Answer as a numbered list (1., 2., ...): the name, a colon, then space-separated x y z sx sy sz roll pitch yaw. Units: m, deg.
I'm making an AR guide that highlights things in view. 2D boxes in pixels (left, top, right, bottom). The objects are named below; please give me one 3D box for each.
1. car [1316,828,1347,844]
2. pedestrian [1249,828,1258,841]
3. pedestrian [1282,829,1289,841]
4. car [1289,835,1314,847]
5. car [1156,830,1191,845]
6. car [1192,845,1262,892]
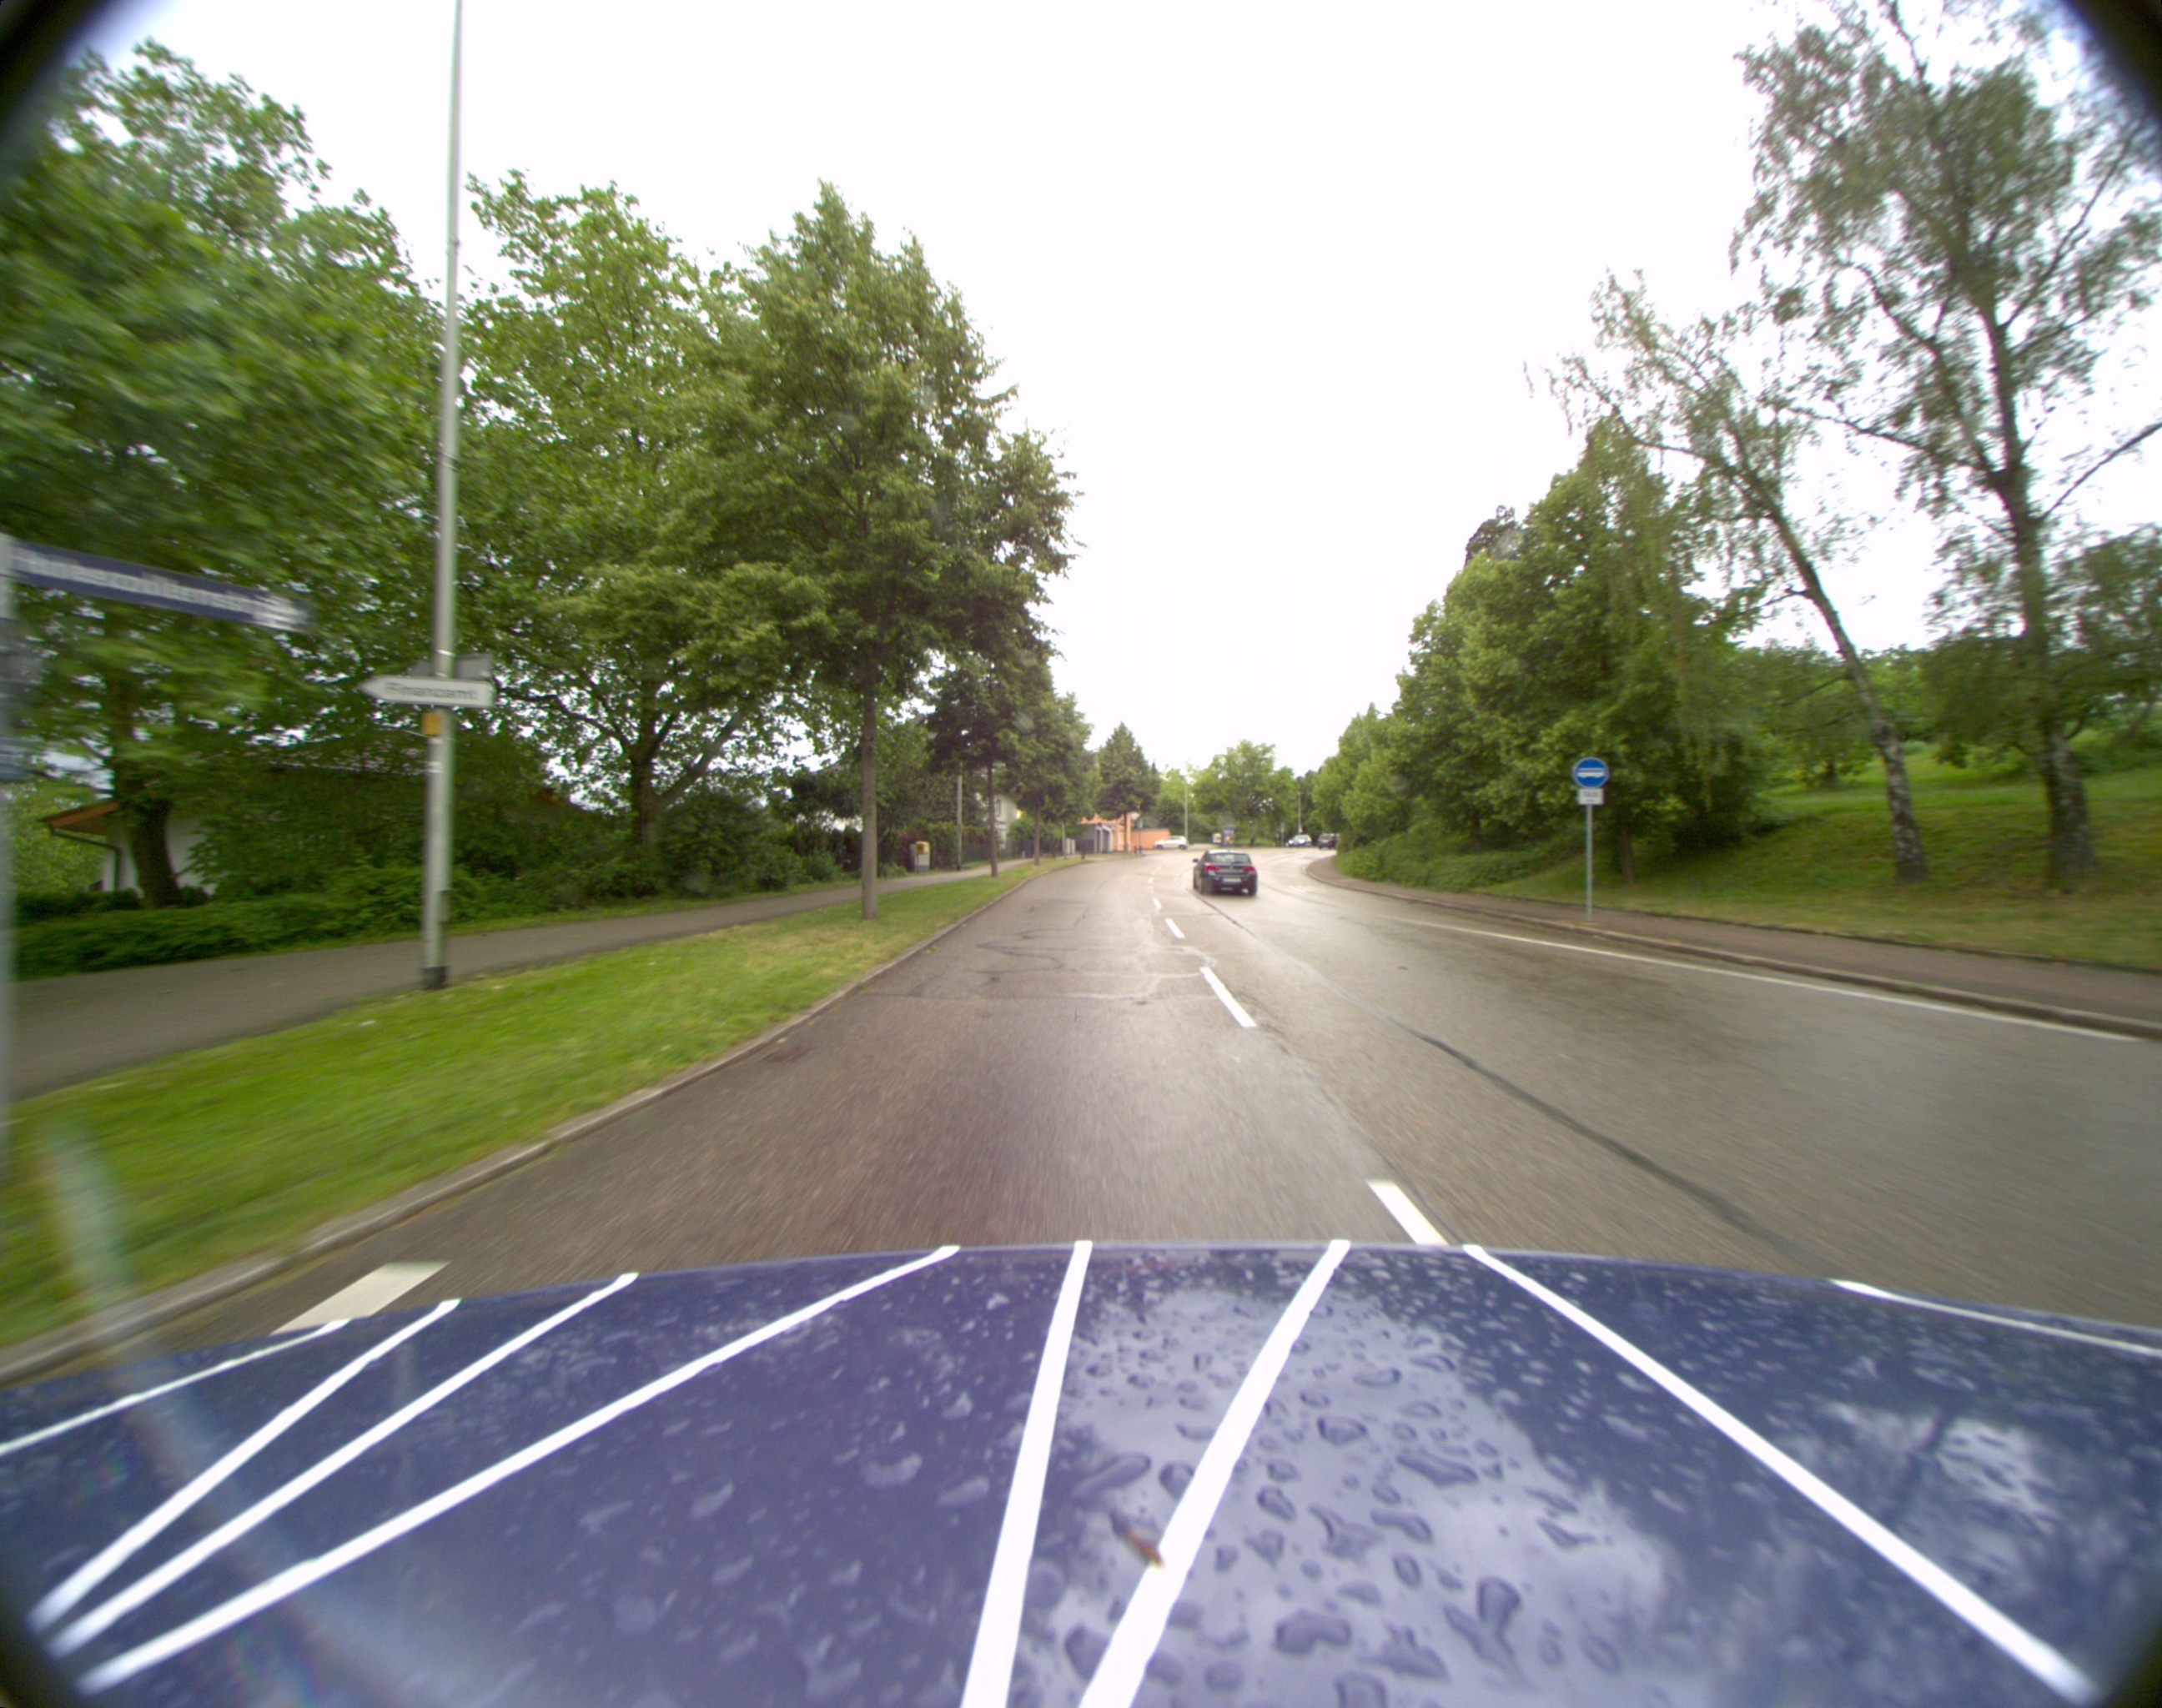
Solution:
1. car: 26.925 -1.983 81.542 1.811 1.568 4.694 1 3 37
2. pedestrian: 22.706 -2.549 100.018 0.926 1.645 1.099 1 2 22
3. pedestrian: 28.725 -2.707 106.910 0.723 1.723 0.821 1 2 33
4. car: 27.767 -1.604 95.701 1.858 1.406 4.395 0 0 32
5. car: 10.893 -1.951 89.165 3.863 1.557 1.728 2 2 12
6. car: 4.700 0.427 25.014 1.725 1.375 4.140 1 1 3
